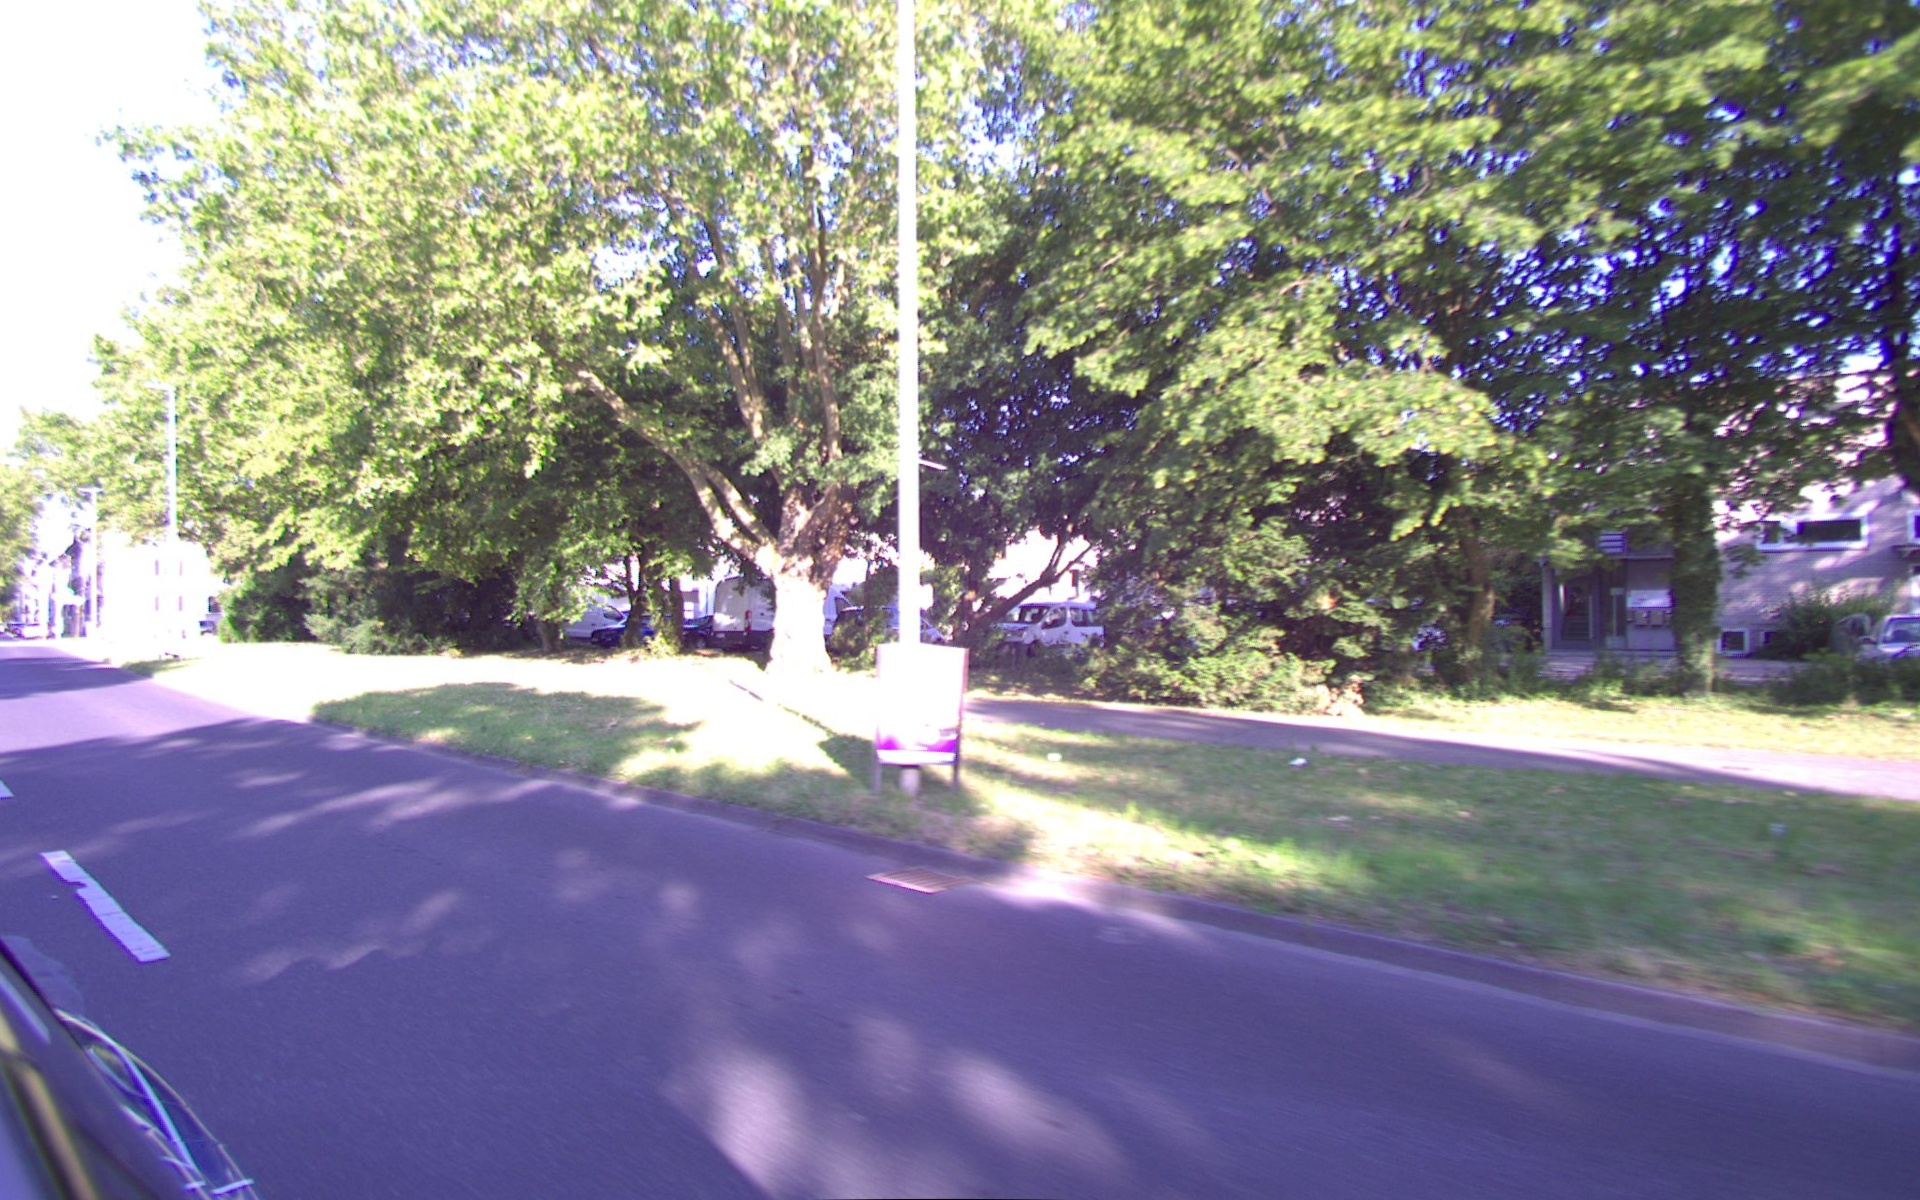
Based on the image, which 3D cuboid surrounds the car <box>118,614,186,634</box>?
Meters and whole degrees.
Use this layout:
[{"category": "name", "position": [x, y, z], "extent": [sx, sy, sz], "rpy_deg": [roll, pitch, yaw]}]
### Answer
[{"category": "car", "position": [-62.365, 1.836, 78.222], "extent": [3.932, 1.429, 1.920], "rpy_deg": [0, 0, -33]}]

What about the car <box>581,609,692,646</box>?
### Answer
[{"category": "car", "position": [-12.817, 1.065, 40.266], "extent": [1.692, 1.392, 3.889], "rpy_deg": [-1, -1, 40]}]

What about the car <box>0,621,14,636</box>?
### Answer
[{"category": "car", "position": [-103.376, 3.081, 109.122], "extent": [4.088, 1.624, 1.844], "rpy_deg": [-1, 0, 44]}]

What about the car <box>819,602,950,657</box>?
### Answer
[{"category": "car", "position": [-2.186, 0.832, 30.061], "extent": [1.813, 1.511, 3.688], "rpy_deg": [-1, -1, 41]}]

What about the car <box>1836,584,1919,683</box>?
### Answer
[{"category": "car", "position": [15.818, 0.615, 16.593], "extent": [1.762, 1.475, 3.698], "rpy_deg": [0, -4, 34]}]

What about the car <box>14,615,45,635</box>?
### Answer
[{"category": "car", "position": [-74.087, 1.947, 80.614], "extent": [1.740, 1.494, 4.113], "rpy_deg": [-2, 1, -42]}]

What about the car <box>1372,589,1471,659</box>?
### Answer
[{"category": "car", "position": [14.555, 0.695, 31.786], "extent": [1.996, 2.029, 4.504], "rpy_deg": [0, 0, 36]}]

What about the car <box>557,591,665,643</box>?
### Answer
[{"category": "car", "position": [-14.804, 0.685, 43.061], "extent": [1.905, 2.060, 3.950], "rpy_deg": [-3, -1, 37]}]

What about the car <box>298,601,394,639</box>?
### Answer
[{"category": "car", "position": [-32.531, 1.032, 53.717], "extent": [1.727, 1.696, 3.946], "rpy_deg": [-2, 2, 42]}]

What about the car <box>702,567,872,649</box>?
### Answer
[{"category": "car", "position": [-5.648, 0.326, 33.642], "extent": [2.186, 2.520, 5.372], "rpy_deg": [-1, -2, 42]}]

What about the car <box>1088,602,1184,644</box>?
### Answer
[{"category": "car", "position": [6.851, 0.869, 39.196], "extent": [1.923, 1.564, 3.946], "rpy_deg": [-1, -1, 40]}]

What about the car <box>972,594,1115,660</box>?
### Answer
[{"category": "car", "position": [2.290, 0.695, 26.829], "extent": [1.950, 1.608, 4.086], "rpy_deg": [-1, -1, 37]}]

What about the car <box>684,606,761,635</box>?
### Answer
[{"category": "car", "position": [-13.537, 1.171, 57.807], "extent": [1.925, 1.564, 3.942], "rpy_deg": [-1, -1, 44]}]

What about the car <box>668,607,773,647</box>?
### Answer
[{"category": "car", "position": [-8.712, 0.946, 36.997], "extent": [1.692, 1.392, 3.445], "rpy_deg": [-1, -1, 40]}]

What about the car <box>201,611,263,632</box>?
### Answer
[{"category": "car", "position": [-58.076, 1.695, 80.834], "extent": [3.933, 1.573, 1.870], "rpy_deg": [0, 0, -33]}]
